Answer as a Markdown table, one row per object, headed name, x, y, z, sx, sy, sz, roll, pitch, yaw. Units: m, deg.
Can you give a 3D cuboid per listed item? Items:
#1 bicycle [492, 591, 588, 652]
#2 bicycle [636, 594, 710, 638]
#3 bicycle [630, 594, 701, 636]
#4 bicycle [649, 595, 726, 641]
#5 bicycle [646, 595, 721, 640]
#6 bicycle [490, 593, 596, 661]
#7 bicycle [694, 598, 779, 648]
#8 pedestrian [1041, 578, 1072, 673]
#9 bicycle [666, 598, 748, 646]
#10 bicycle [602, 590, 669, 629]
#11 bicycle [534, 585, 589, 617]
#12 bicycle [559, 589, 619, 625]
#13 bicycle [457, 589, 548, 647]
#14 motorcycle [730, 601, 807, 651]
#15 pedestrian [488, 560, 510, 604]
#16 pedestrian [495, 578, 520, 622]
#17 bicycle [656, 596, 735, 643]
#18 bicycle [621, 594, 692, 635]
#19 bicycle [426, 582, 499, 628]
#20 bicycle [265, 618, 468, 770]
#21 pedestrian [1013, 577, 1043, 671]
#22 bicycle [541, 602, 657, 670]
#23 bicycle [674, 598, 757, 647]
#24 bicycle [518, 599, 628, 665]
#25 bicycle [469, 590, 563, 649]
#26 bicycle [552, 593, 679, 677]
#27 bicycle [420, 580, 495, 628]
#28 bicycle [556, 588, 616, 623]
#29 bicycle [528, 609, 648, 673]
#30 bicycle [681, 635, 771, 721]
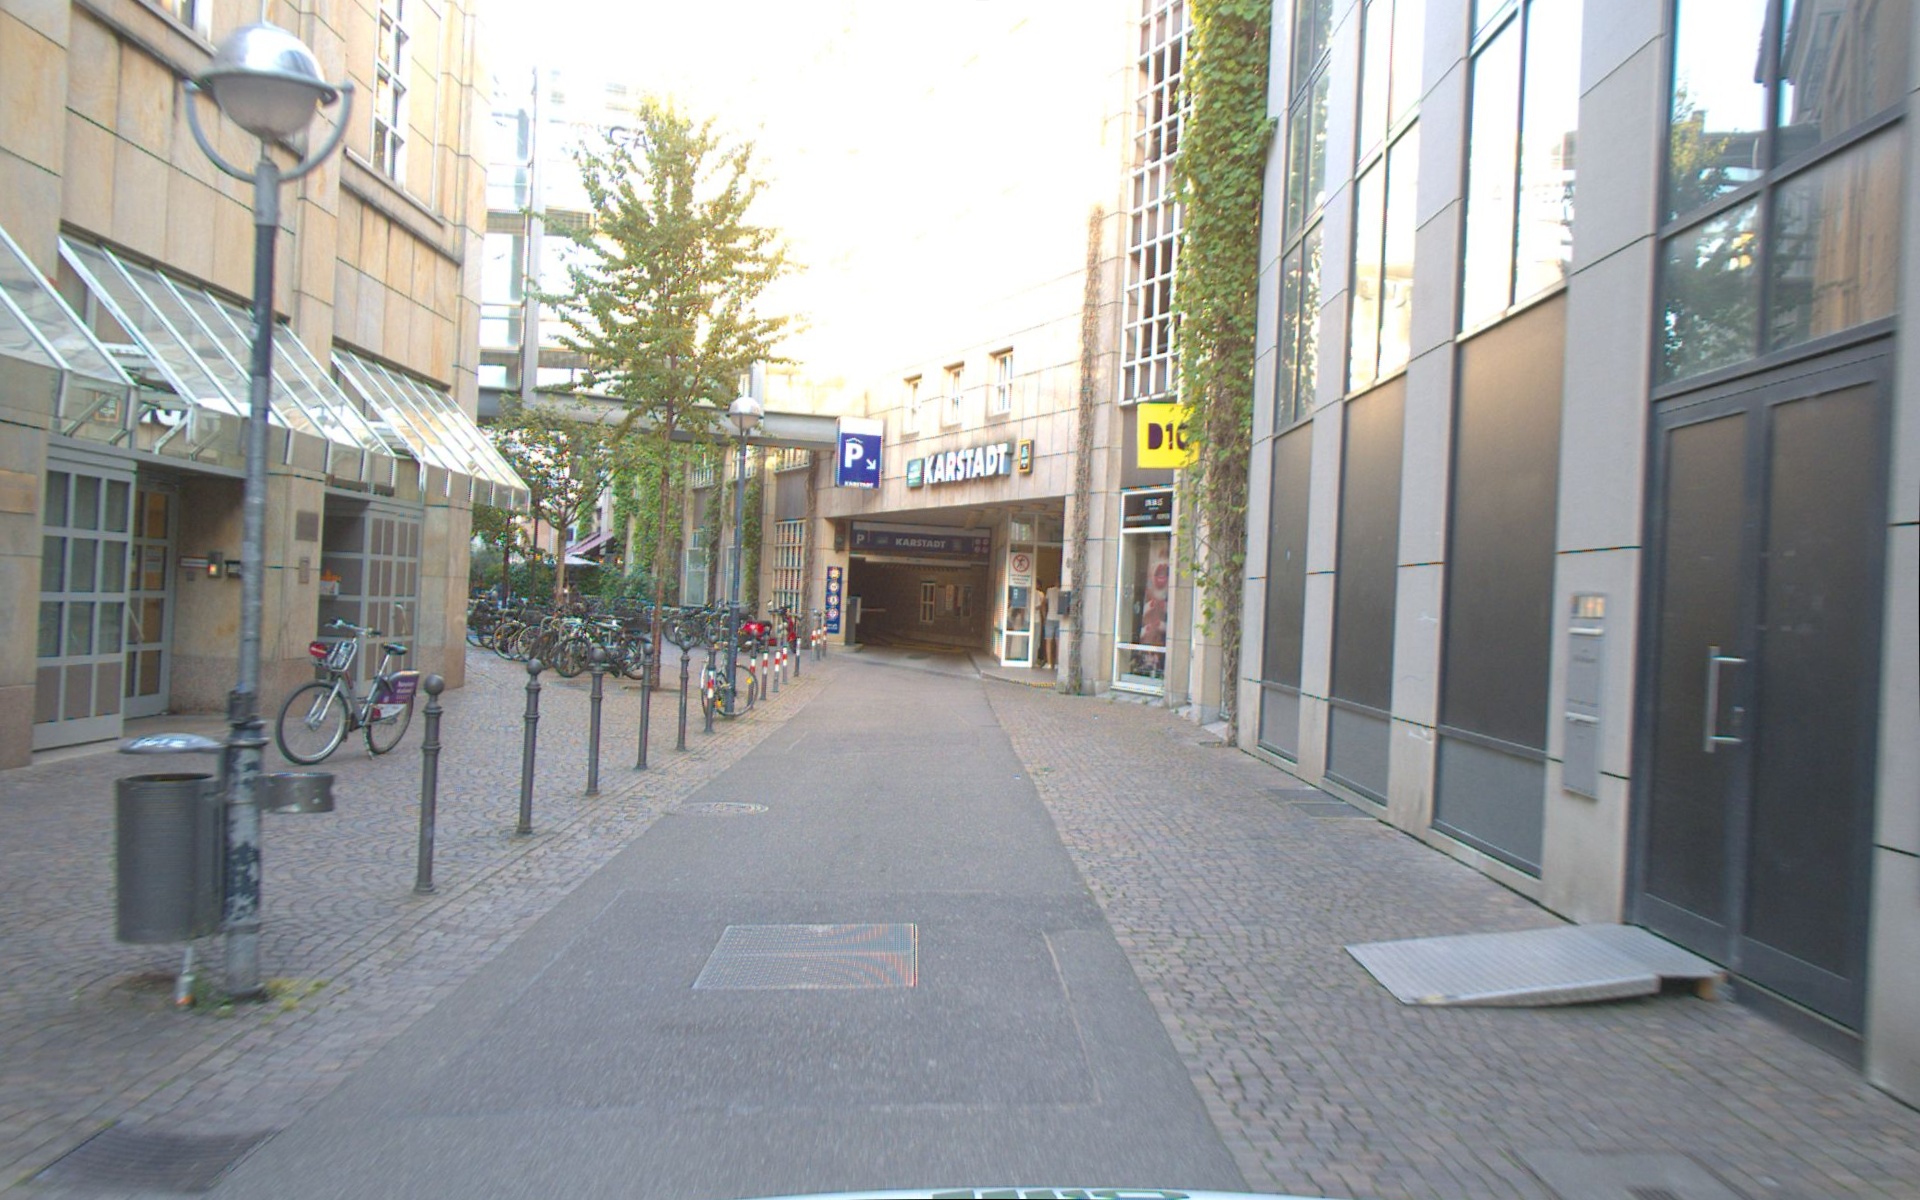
| name | x | y | z | sx | sy | sz | roll | pitch | yaw |
| --- | --- | --- | --- | --- | --- | --- | --- | --- | --- |
| bicycle | -8.865 | 0.452 | 34.933 | 1.883 | 1.203 | 0.692 | 2 | 0 | -18 |
| bicycle | -8.137 | 0.449 | 46.910 | 1.965 | 1.203 | 0.690 | 0 | 0 | -21 |
| bicycle | -8.574 | 0.438 | 48.136 | 1.965 | 1.203 | 0.690 | 0 | 0 | -21 |
| bicycle | -7.431 | 0.489 | 45.057 | 1.965 | 1.203 | 0.798 | 0 | 1 | -21 |
| bicycle | -7.704 | 0.488 | 46.038 | 1.965 | 1.203 | 0.690 | 0 | 0 | -21 |
| bicycle | -7.884 | 0.511 | 31.263 | 1.883 | 1.203 | 0.692 | 2 | 0 | -18 |
| bicycle | -5.517 | 0.553 | 40.775 | 1.965 | 1.203 | 0.692 | 0 | 0 | -21 |
| pedestrian | 1.973 | 0.515 | 33.716 | 0.531 | 1.894 | 0.408 | 2 | 1 | 5 |
| bicycle | -6.511 | 0.554 | 42.491 | 1.965 | 1.203 | 0.798 | 0 | 1 | -21 |
| bicycle | -10.107 | 0.306 | 51.532 | 1.965 | 1.203 | 0.690 | 0 | 0 | -21 |
| bicycle | -15.022 | 0.044 | 62.374 | 1.965 | 1.203 | 0.690 | 0 | 0 | -21 |
| bicycle | -12.807 | 0.236 | 57.130 | 1.965 | 1.203 | 0.690 | 0 | 0 | -21 |
| bicycle | -10.153 | 0.404 | 36.682 | 1.883 | 1.203 | 0.692 | 2 | 0 | -18 |
| motorcycle | -4.539 | 0.615 | 39.124 | 1.719 | 1.175 | 0.591 | 1 | 0 | -18 |
| pedestrian | -19.672 | -0.755 | 70.534 | 0.754 | 1.836 | 0.772 | 2 | 0 | -23 |
| pedestrian | -16.263 | -0.006 | 59.397 | 0.738 | 1.536 | 0.633 | 2 | 0 | -23 |
| bicycle | -6.975 | 0.501 | 43.613 | 1.965 | 1.203 | 0.798 | 0 | 1 | -21 |
| bicycle | -9.030 | 0.433 | 49.199 | 1.965 | 1.203 | 0.690 | 0 | 0 | -21 |
| bicycle | -13.760 | 0.133 | 45.795 | 1.883 | 1.203 | 0.692 | 2 | 0 | -18 |
| bicycle | -4.864 | 0.735 | 13.681 | 0.679 | 1.131 | 1.778 | 2 | 0 | 14 |
| pedestrian | 1.393 | 0.485 | 33.938 | 0.531 | 1.878 | 0.408 | 2 | 1 | 5 |
| bicycle | -6.377 | 0.644 | 29.213 | 1.886 | 1.121 | 0.691 | 2 | 0 | -22 |
| bicycle | -6.163 | 0.572 | 41.619 | 1.965 | 1.203 | 0.692 | 0 | 0 | -21 |
| bicycle | -7.117 | 0.588 | 30.382 | 1.883 | 1.121 | 0.692 | 2 | 0 | -18 |
| bicycle | -9.578 | 0.418 | 35.655 | 1.883 | 1.203 | 0.692 | 2 | 0 | -18 |
| bicycle | -5.607 | 0.572 | 26.900 | 1.886 | 1.283 | 0.803 | 2 | 0 | -22 |
| bicycle | -13.622 | 0.109 | 44.871 | 1.883 | 1.203 | 0.692 | 2 | 0 | -18 |
| bicycle | -13.091 | 0.209 | 57.933 | 1.965 | 1.203 | 0.690 | 0 | 0 | -21 |
| bicycle | -6.364 | 0.703 | 28.294 | 1.886 | 1.011 | 0.691 | 2 | 0 | -22 |
| bicycle | -2.898 | 0.947 | 20.619 | 0.494 | 0.983 | 1.696 | 2 | 0 | 14 |
